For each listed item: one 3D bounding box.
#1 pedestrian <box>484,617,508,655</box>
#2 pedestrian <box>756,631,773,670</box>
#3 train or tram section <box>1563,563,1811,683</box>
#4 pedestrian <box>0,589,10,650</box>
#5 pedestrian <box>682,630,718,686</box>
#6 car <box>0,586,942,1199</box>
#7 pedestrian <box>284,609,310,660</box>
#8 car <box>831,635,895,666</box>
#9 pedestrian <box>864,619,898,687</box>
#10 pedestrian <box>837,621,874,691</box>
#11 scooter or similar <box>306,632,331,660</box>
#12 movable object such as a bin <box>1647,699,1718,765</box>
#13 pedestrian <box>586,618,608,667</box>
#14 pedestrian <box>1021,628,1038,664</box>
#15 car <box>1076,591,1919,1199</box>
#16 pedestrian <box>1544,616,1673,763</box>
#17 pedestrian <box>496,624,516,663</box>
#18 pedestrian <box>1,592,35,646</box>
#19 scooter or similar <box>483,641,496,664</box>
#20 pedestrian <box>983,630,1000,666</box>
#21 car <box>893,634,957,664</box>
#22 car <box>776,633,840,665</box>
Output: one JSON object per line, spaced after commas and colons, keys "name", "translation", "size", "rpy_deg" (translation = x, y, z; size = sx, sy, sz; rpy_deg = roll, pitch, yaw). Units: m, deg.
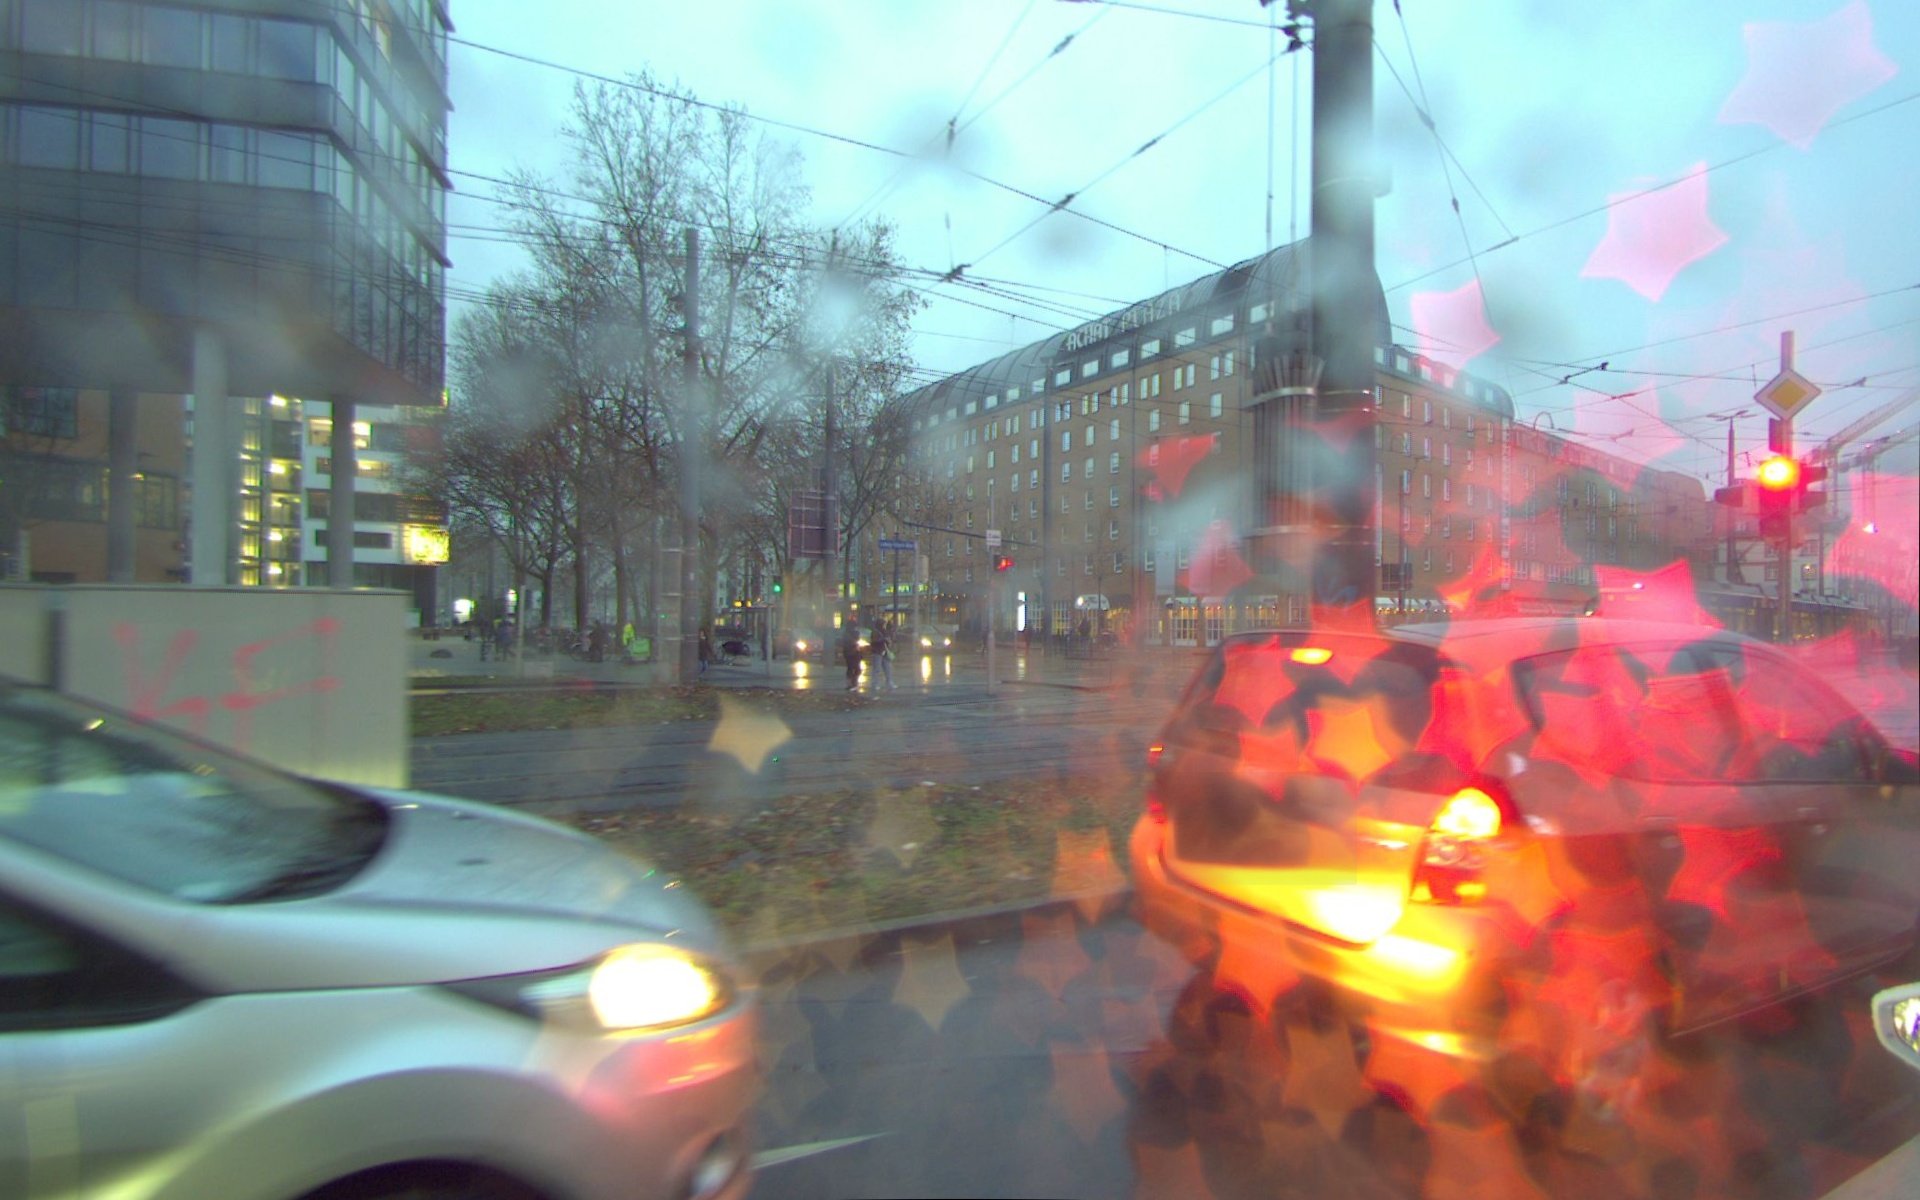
{"name": "pedestrian", "translation": [-21.846, 1.701, 47.338], "size": [0.808, 1.783, 0.731], "rpy_deg": [-1, -2, 41]}
{"name": "pedestrian", "translation": [-8.717, 2.244, 44.881], "size": [0.679, 1.728, 0.526], "rpy_deg": [1, -2, -6]}
{"name": "train or tram section", "translation": [28.308, 0.984, 38.219], "size": [19.905, 3.662, 2.841], "rpy_deg": [2, -2, -40]}
{"name": "pedestrian", "translation": [-28.454, 0.557, 29.322], "size": [0.690, 1.775, 0.794], "rpy_deg": [0, -1, 18]}
{"name": "pedestrian", "translation": [-7.295, 1.612, 28.210], "size": [0.666, 1.519, 0.734], "rpy_deg": [-1, -1, 40]}
{"name": "car", "translation": [-2.176, 0.707, 1.758], "size": [3.953, 1.467, 1.697], "rpy_deg": [2, 0, -30]}
{"name": "pedestrian", "translation": [-23.490, 1.230, 35.603], "size": [0.628, 1.797, 0.569], "rpy_deg": [1, -2, -24]}
{"name": "car", "translation": [-4.982, 2.548, 51.091], "size": [1.974, 1.446, 3.973], "rpy_deg": [1, -1, -26]}
{"name": "pedestrian", "translation": [-1.828, 1.212, 23.221], "size": [0.609, 1.532, 0.515], "rpy_deg": [1, -1, -39]}
{"name": "pedestrian", "translation": [-2.355, 1.250, 22.611], "size": [0.639, 1.532, 0.557], "rpy_deg": [1, -1, -36]}
{"name": "scooter or similar", "translation": [-22.896, 1.639, 35.869], "size": [0.657, 0.973, 0.550], "rpy_deg": [1, -2, -24]}
{"name": "movable object such as a bin", "translation": [8.250, 1.502, 11.482], "size": [0.527, 0.708, 0.413], "rpy_deg": [0, -3, 11]}
{"name": "pedestrian", "translation": [-14.159, 1.670, 39.193], "size": [0.725, 1.888, 0.569], "rpy_deg": [1, -2, -24]}
{"name": "pedestrian", "translation": [3.528, 2.333, 50.927], "size": [0.622, 1.781, 0.566], "rpy_deg": [-1, -2, 33]}
{"name": "car", "translation": [2.462, 0.777, 4.055], "size": [3.713, 1.478, 1.690], "rpy_deg": [1, -2, -30]}
{"name": "pedestrian", "translation": [7.468, 1.020, 11.613], "size": [1.016, 1.621, 0.716], "rpy_deg": [-1, -3, 12]}
{"name": "pedestrian", "translation": [-17.565, 1.669, 38.849], "size": [0.675, 1.478, 0.569], "rpy_deg": [1, -2, -24]}
{"name": "pedestrian", "translation": [-31.235, 0.640, 33.322], "size": [0.696, 1.775, 0.566], "rpy_deg": [1, -1, -32]}
{"name": "scooter or similar", "translation": [-18.088, 2.028, 38.593], "size": [0.426, 0.861, 0.550], "rpy_deg": [1, -2, -24]}
{"name": "pedestrian", "translation": [1.587, 2.386, 50.326], "size": [0.622, 1.781, 0.566], "rpy_deg": [-1, -2, 33]}
{"name": "car", "translation": [-1.926, 2.586, 53.590], "size": [1.974, 1.446, 3.973], "rpy_deg": [1, -1, -26]}
{"name": "car", "translation": [-7.375, 2.329, 48.441], "size": [1.974, 1.446, 3.973], "rpy_deg": [1, -1, -26]}
